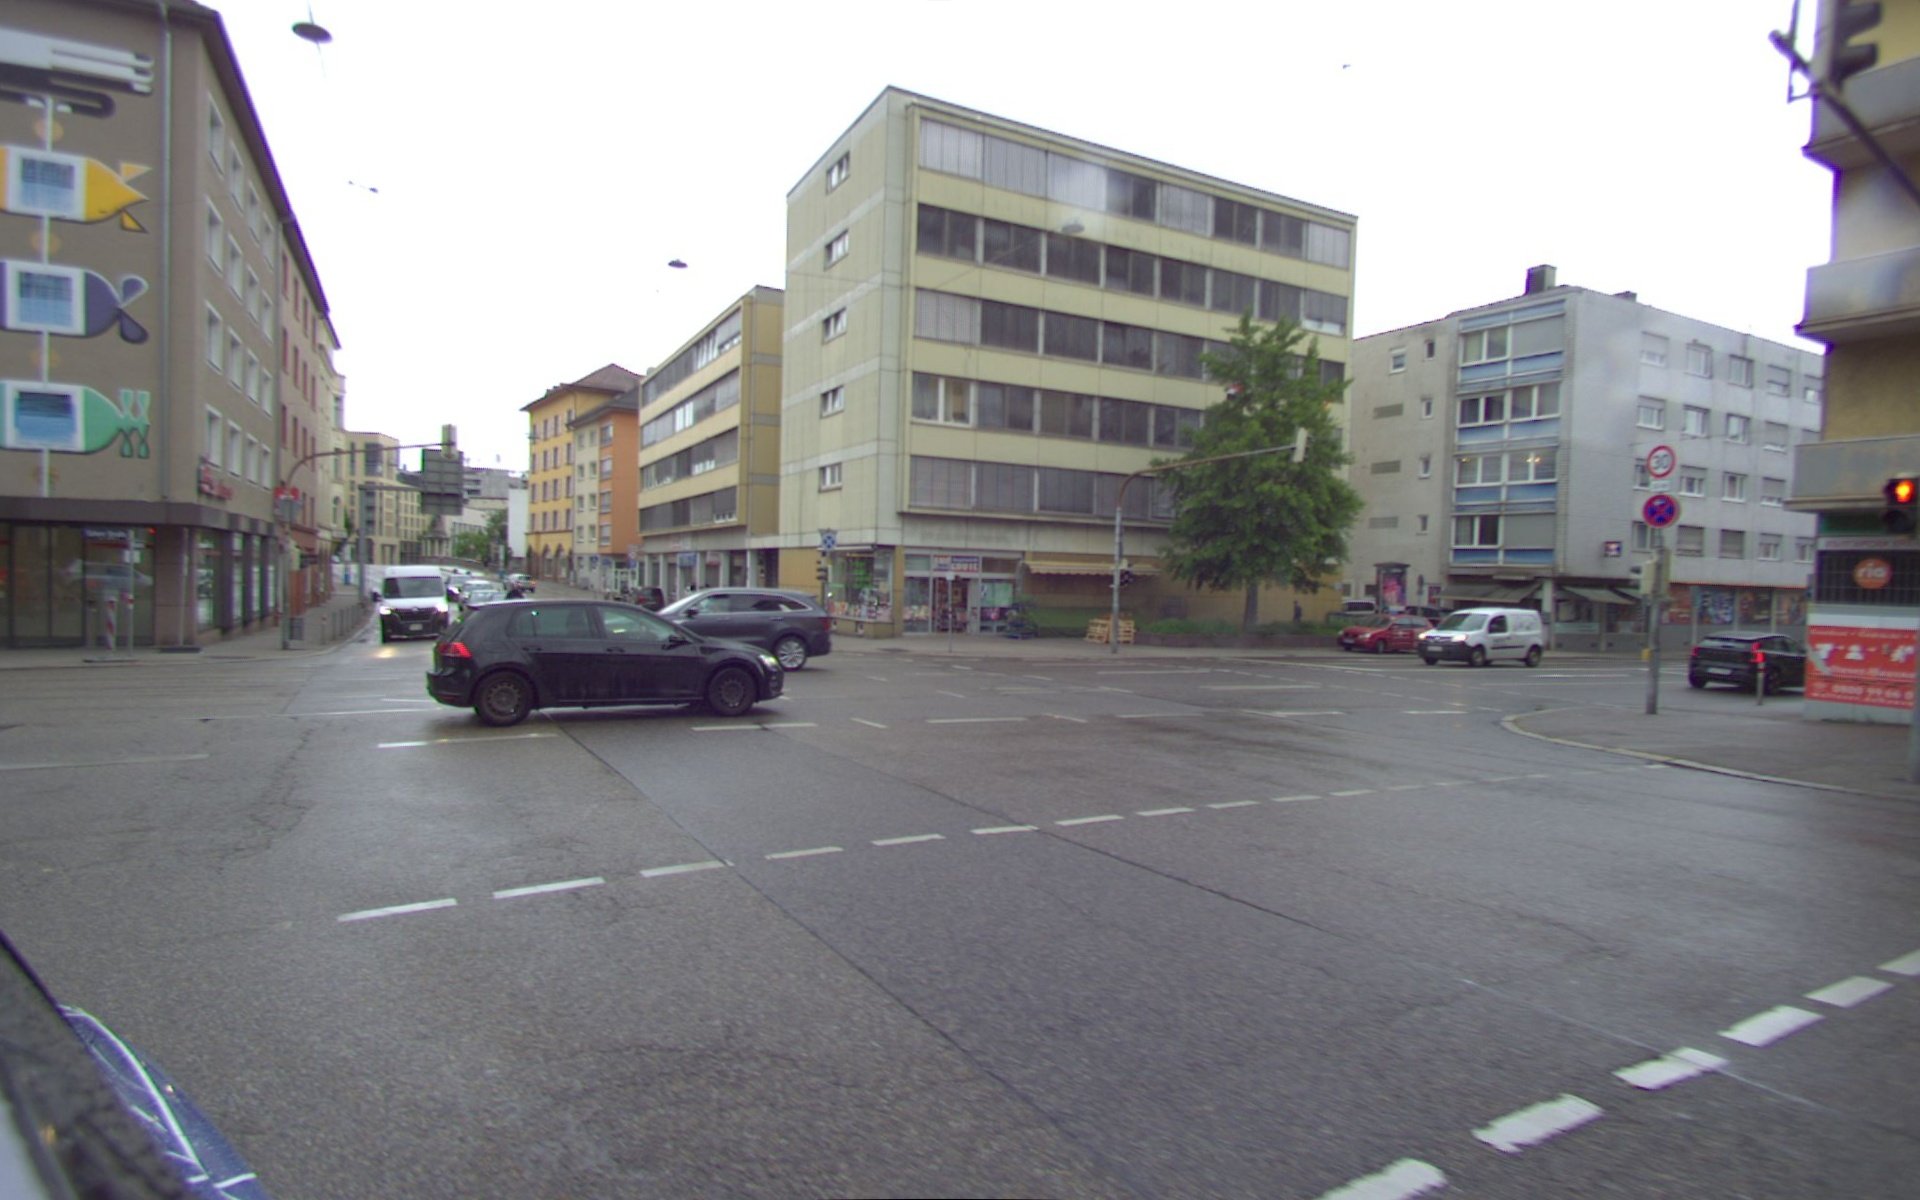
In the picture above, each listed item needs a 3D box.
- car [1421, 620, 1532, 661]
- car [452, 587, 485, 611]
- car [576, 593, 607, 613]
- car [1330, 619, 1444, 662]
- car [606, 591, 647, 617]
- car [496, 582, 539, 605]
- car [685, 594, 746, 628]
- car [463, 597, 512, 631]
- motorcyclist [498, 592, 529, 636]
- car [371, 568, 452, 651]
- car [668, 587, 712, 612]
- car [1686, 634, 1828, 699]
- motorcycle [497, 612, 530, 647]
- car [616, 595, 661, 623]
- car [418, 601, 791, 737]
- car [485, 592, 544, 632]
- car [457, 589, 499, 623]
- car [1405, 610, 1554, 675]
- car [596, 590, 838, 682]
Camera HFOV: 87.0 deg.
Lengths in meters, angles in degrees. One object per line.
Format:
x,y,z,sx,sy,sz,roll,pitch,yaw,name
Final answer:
20.121,1.582,39.421,3.824,1.437,1.731,2,1,-23,car
-31.992,-0.065,65.854,1.818,1.430,3.581,-2,1,-28,car
-30.722,0.222,84.409,1.818,1.579,4.383,-2,1,-28,car
15.949,1.503,37.812,3.824,1.437,1.731,2,1,-23,car
-21.819,0.256,66.073,1.818,1.579,4.383,-2,1,-28,car
-36.906,-0.545,84.336,1.823,1.721,4.372,0,2,-45,car
-11.125,0.490,45.904,1.818,1.430,3.581,-2,1,-28,car
-21.211,0.602,45.352,1.818,1.430,3.581,-2,1,-28,car
-15.108,0.472,34.255,0.864,1.490,0.799,1,0,-28,motorcyclist
-18.575,0.280,34.413,2.194,2.543,5.488,-1,1,-28,car
-18.023,-0.035,67.495,1.818,1.579,4.383,-2,1,-28,car
20.812,1.681,26.389,3.933,1.522,1.805,1,-1,-34,car
-15.128,0.989,34.265,0.864,1.108,1.806,1,0,-28,motorcycle
-19.569,0.542,61.553,1.818,1.579,4.383,-2,1,-28,car
-4.324,0.764,12.444,4.095,1.435,1.693,1,-1,-29,car
-17.462,0.449,39.576,1.818,1.430,3.581,-2,1,-28,car
-26.018,0.301,54.578,1.818,1.727,3.581,-2,1,-28,car
16.100,1.293,31.337,4.157,1.869,1.998,2,-1,-26,car
-4.981,0.723,20.789,4.491,1.715,1.998,2,-1,-26,car
